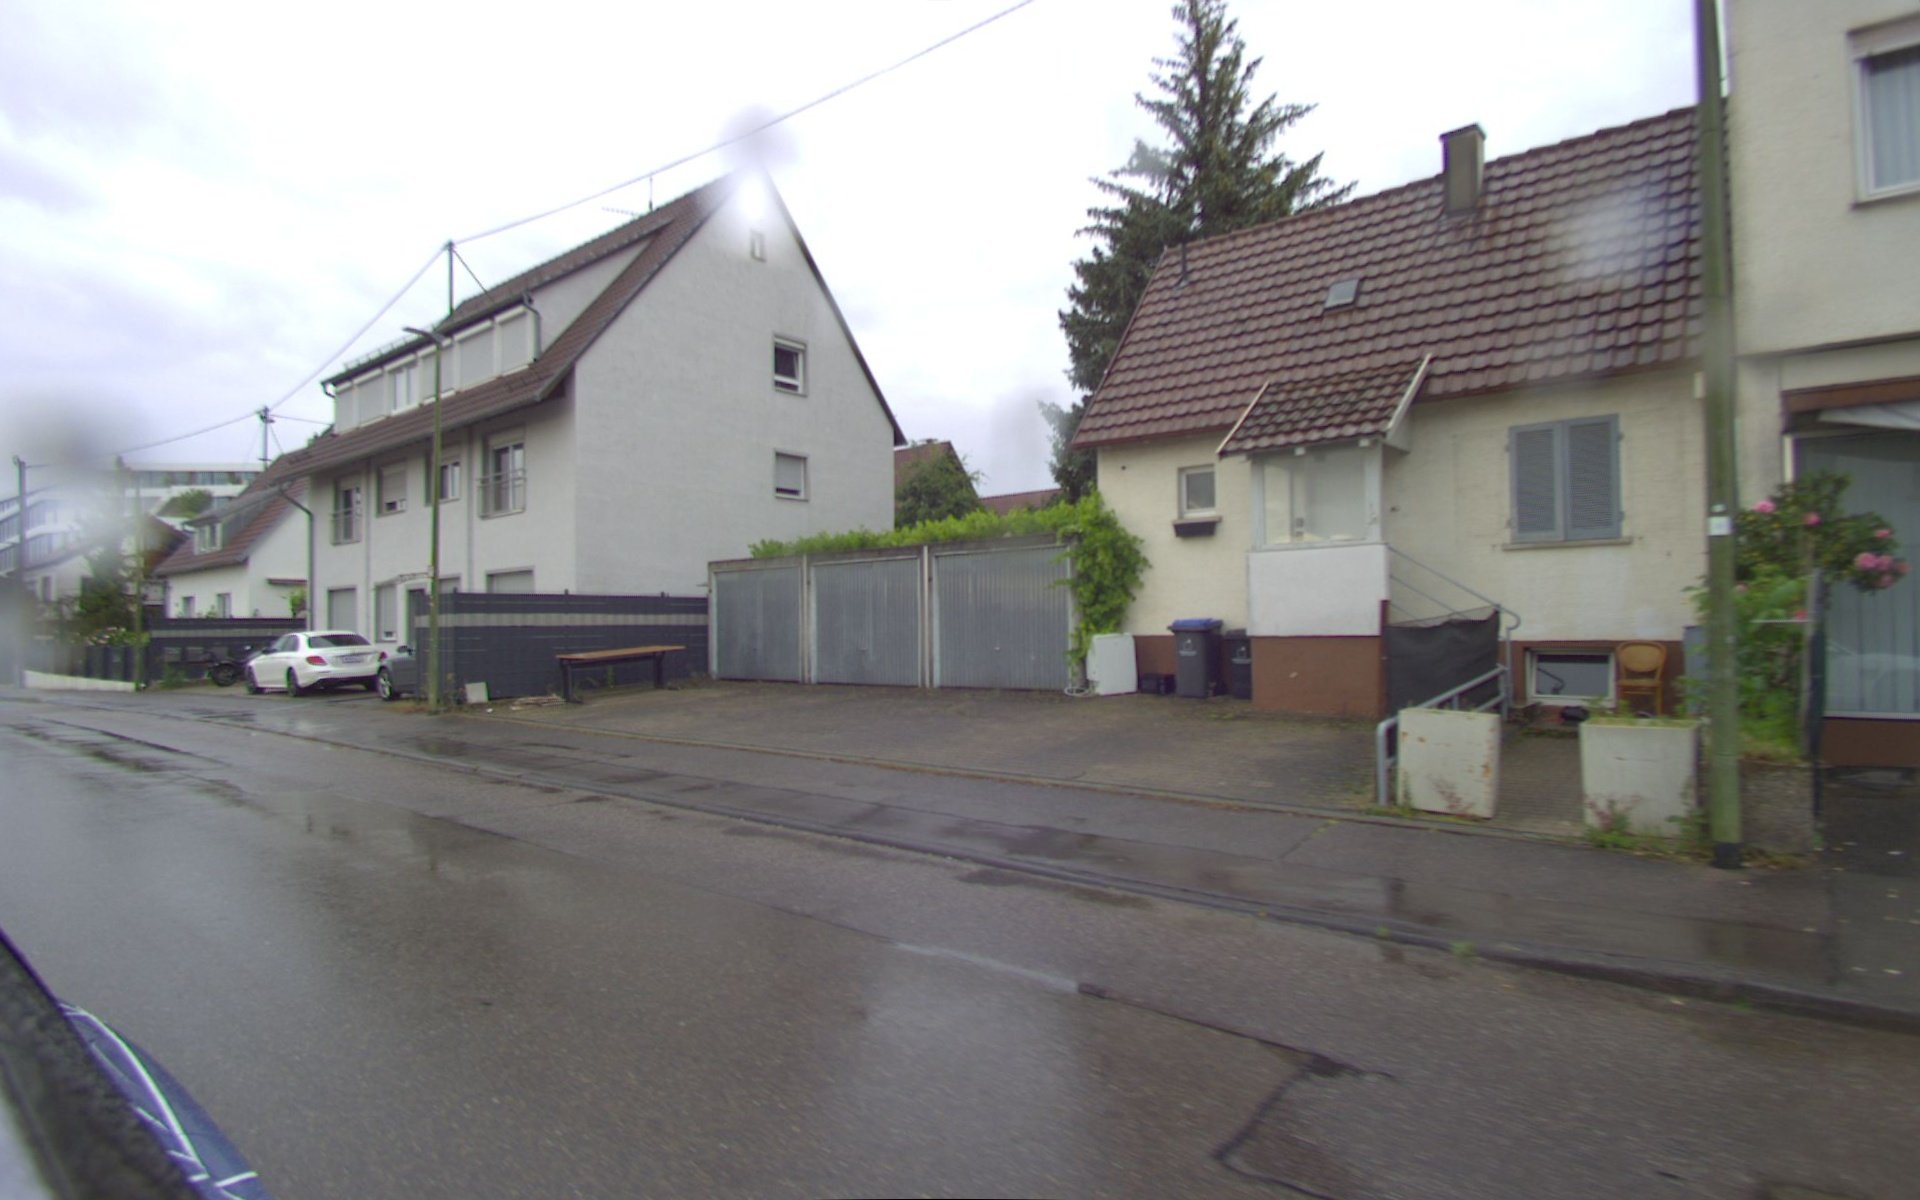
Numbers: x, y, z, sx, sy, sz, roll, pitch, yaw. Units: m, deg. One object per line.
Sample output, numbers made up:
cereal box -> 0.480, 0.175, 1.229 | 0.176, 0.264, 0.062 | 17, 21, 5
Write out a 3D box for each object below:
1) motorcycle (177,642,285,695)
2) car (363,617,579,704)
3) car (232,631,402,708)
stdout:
motorcycle -> -20.648, 1.928, 28.729 | 0.735, 1.283, 2.339 | -3, 0, 40
car -> -9.439, 1.151, 19.374 | 4.562, 1.379, 1.810 | -3, 0, 37
car -> -15.344, 1.632, 24.039 | 4.891, 1.521, 1.974 | -3, 0, 40
